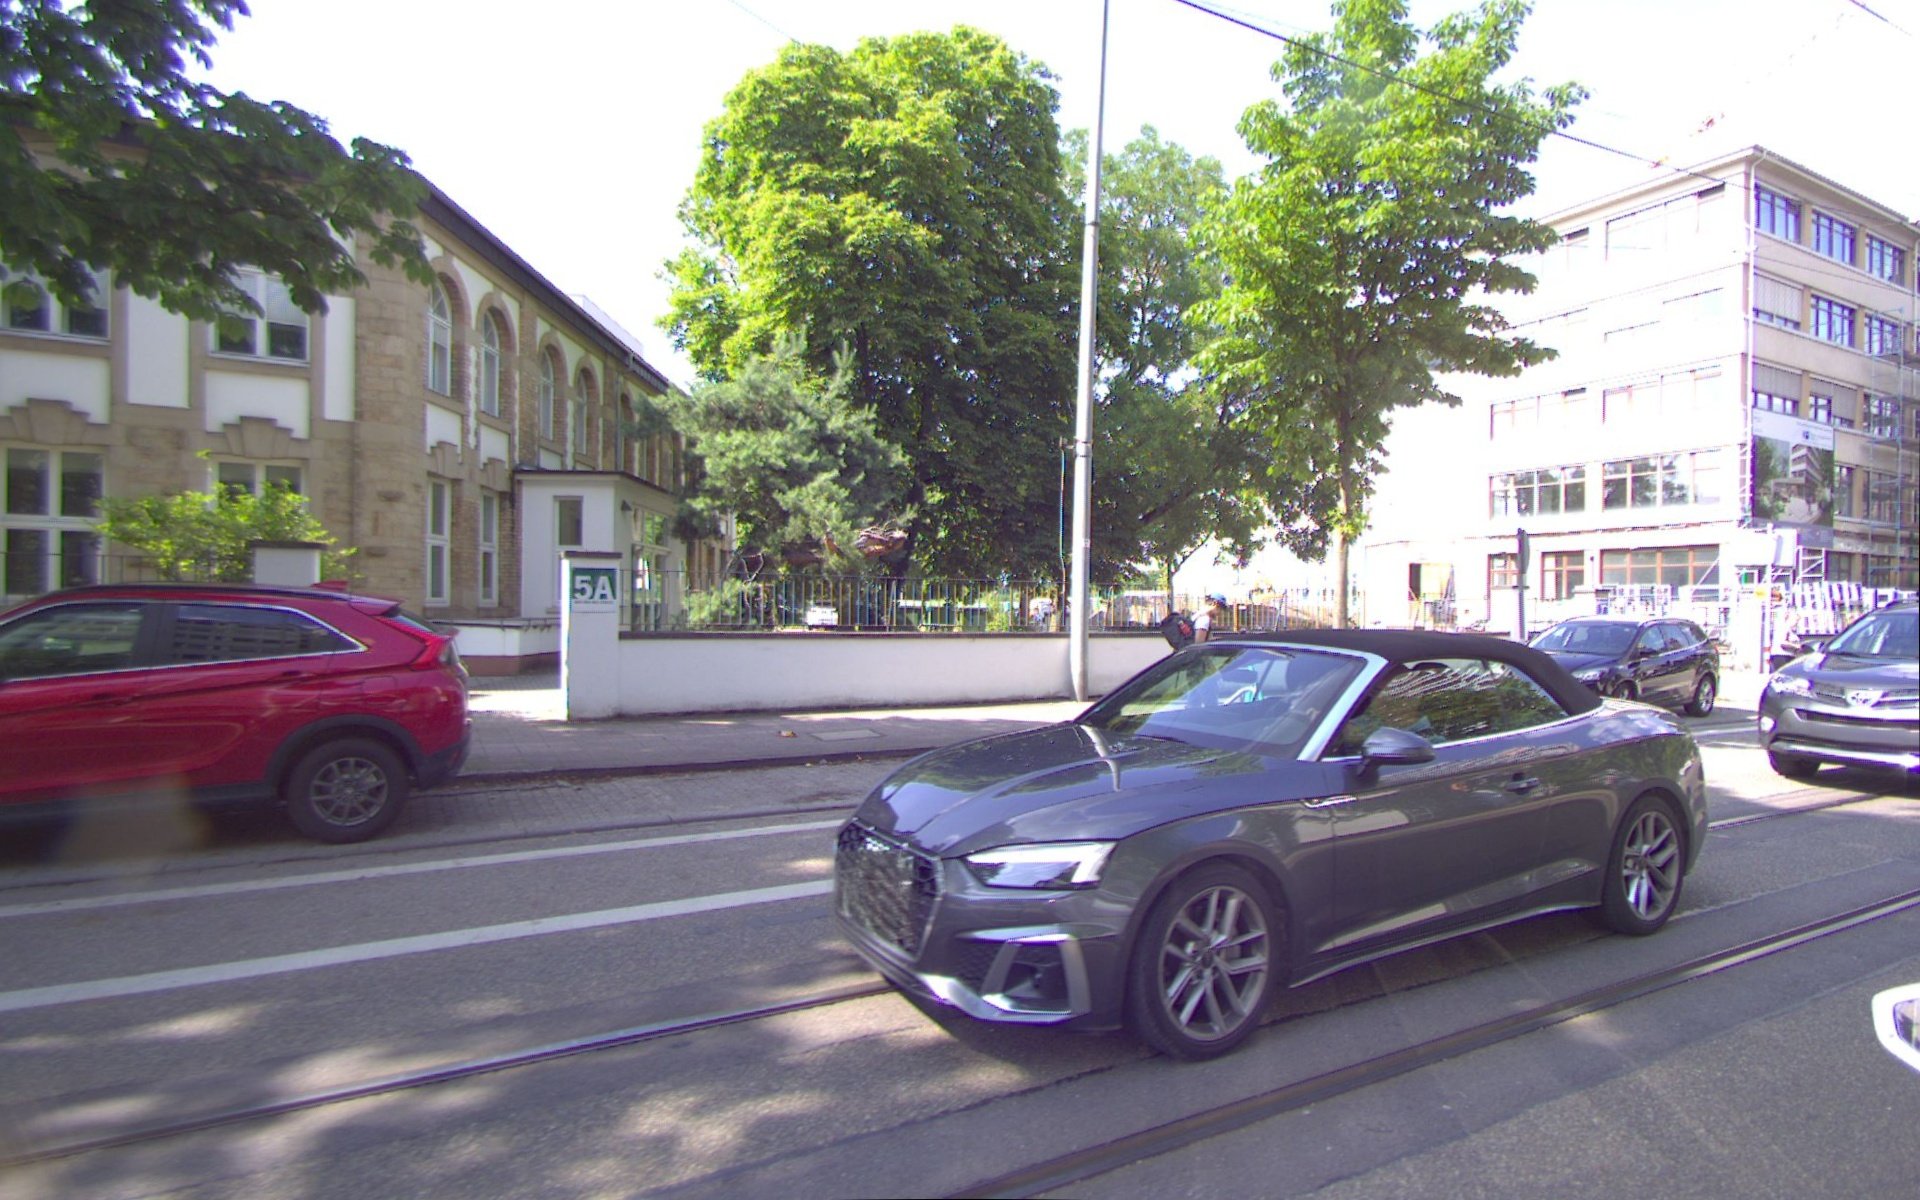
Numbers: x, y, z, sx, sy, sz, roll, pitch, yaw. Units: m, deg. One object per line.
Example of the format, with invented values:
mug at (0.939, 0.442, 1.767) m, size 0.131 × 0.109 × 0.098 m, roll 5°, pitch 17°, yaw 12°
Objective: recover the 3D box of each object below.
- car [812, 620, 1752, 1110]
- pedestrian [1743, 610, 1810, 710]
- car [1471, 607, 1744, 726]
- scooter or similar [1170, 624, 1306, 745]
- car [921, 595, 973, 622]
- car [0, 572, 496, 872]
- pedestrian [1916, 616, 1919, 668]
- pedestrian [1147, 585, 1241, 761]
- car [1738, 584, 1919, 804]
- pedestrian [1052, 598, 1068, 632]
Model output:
car at (1.672, 0.808, 4.775) m, size 4.373 × 1.406 × 1.791 m, roll 1°, pitch -1°, yaw -30°
pedestrian at (14.113, 1.016, 17.379) m, size 0.714 × 1.659 × 0.691 m, roll 2°, pitch 1°, yaw 27°
car at (9.945, 0.935, 15.330) m, size 4.541 × 1.536 × 1.739 m, roll 1°, pitch 1°, yaw -32°
scooter or similar at (3.297, 0.962, 12.002) m, size 0.845 × 1.297 × 1.332 m, roll 1°, pitch 1°, yaw -30°
car at (-1.021, 0.687, 78.531) m, size 3.925 × 2.040 × 1.998 m, roll 1°, pitch 0°, yaw -6°
car at (-5.661, 0.680, 6.521) m, size 4.665 × 1.688 × 1.742 m, roll 1°, pitch 1°, yaw -30°
pedestrian at (27.674, 1.019, 28.407) m, size 0.655 × 1.857 × 0.703 m, roll -1°, pitch 4°, yaw -34°
pedestrian at (2.480, 0.752, 10.737) m, size 0.775 × 1.790 × 0.753 m, roll 2°, pitch 1°, yaw 0°
car at (9.350, 0.777, 9.388) m, size 4.340 × 1.750 × 1.817 m, roll 1°, pitch -1°, yaw -30°
pedestrian at (4.985, 0.747, 50.209) m, size 0.751 × 1.642 × 0.594 m, roll 1°, pitch 0°, yaw 10°
